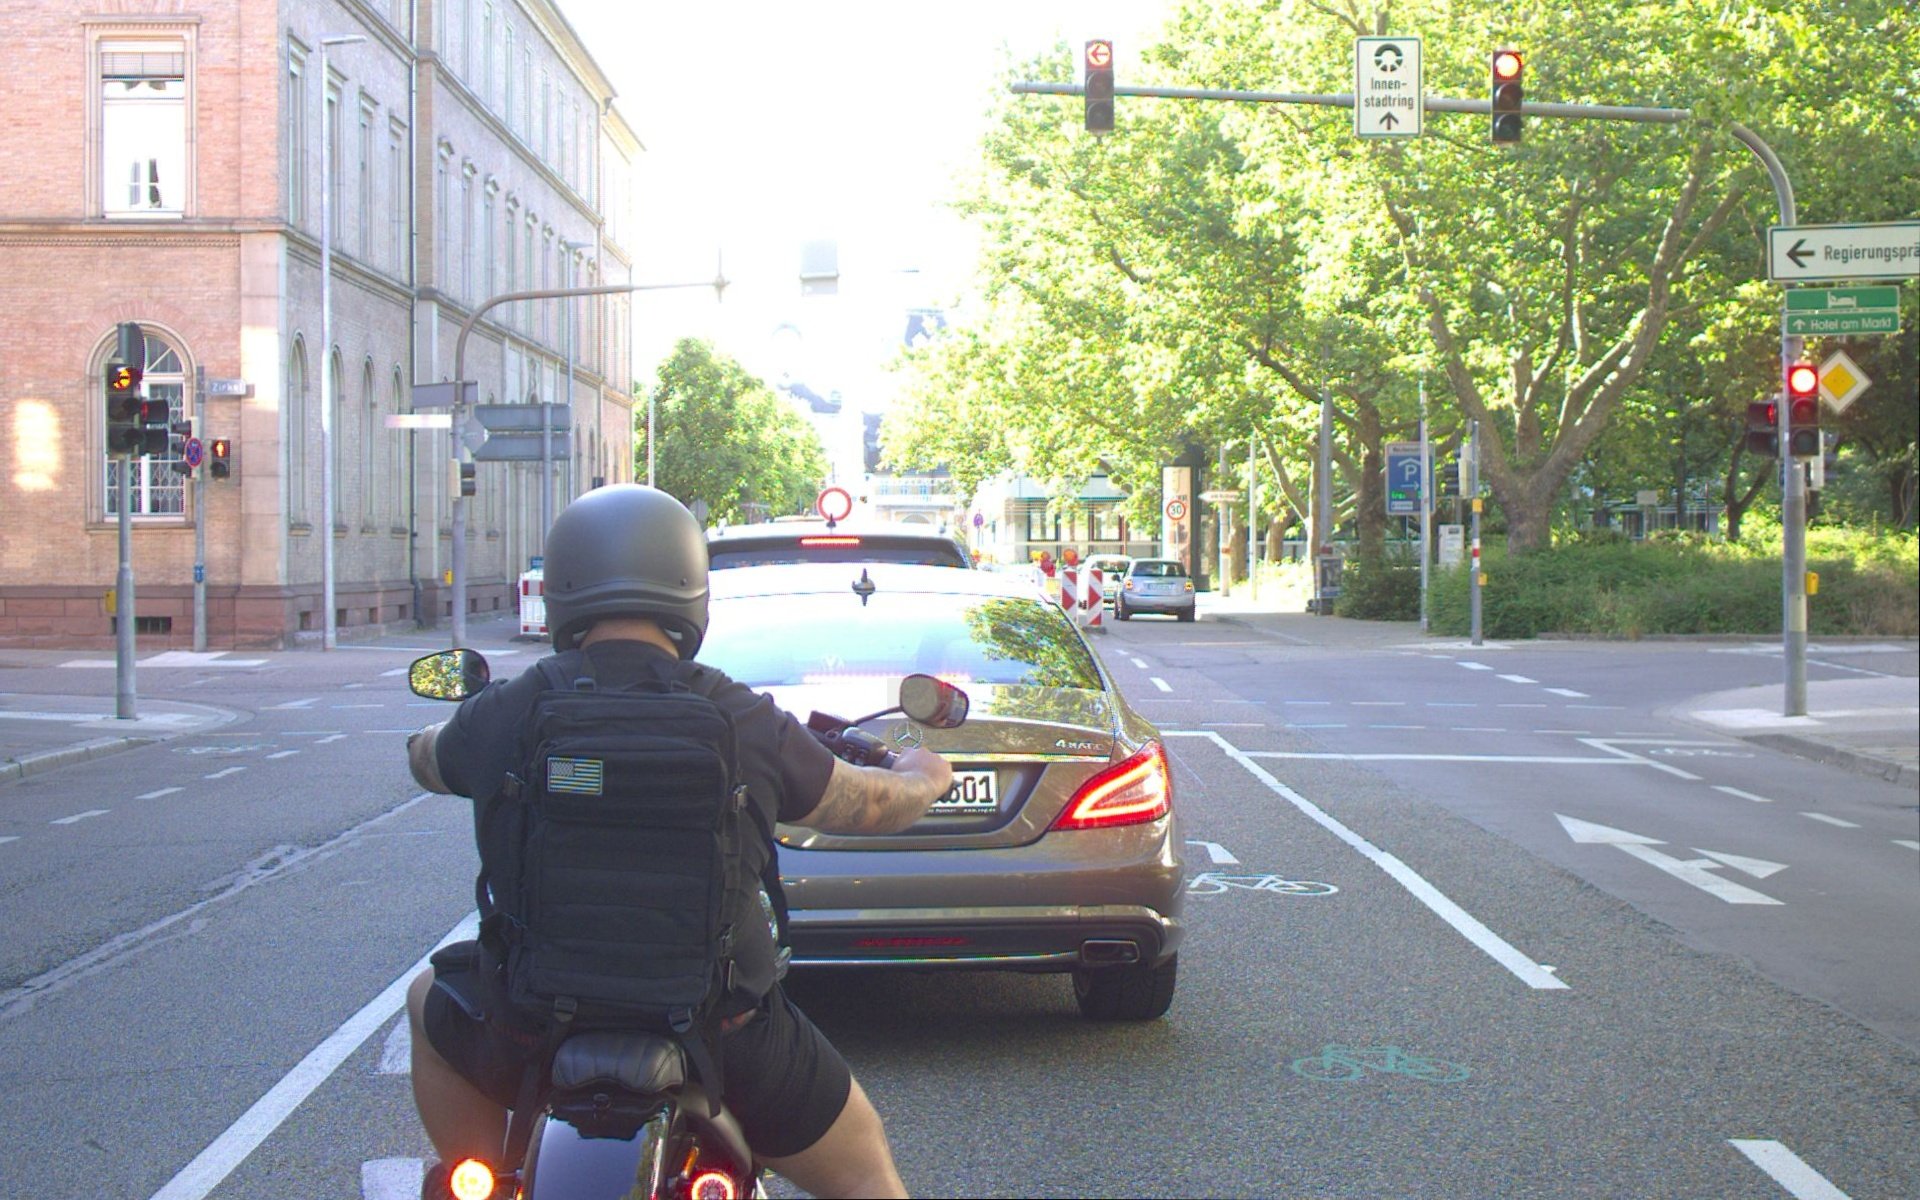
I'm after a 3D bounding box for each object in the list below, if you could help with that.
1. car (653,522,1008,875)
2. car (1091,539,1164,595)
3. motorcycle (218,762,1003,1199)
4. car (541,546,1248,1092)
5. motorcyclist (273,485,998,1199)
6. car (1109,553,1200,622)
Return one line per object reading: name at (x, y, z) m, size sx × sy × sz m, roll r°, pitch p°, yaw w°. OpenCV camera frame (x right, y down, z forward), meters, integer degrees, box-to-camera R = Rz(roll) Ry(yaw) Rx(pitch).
car at (-0.637, 0.409, 17.773) m, size 1.612 × 1.602 × 4.329 m, roll 0°, pitch 1°, yaw -1°
car at (4.600, -0.904, 94.853) m, size 1.856 × 1.481 × 3.908 m, roll 1°, pitch 1°, yaw 1°
motorcycle at (-0.455, 0.880, 5.571) m, size 0.989 × 1.075 × 2.452 m, roll 0°, pitch 1°, yaw -1°
car at (-0.431, 0.559, 11.607) m, size 1.945 × 1.468 × 4.363 m, roll 0°, pitch 1°, yaw -7°
motorcyclist at (-0.451, 0.625, 5.413) m, size 0.989 × 1.591 × 1.404 m, roll 0°, pitch 1°, yaw -1°
car at (4.362, -0.302, 77.614) m, size 1.821 × 1.475 × 3.908 m, roll -1°, pitch 1°, yaw 0°
